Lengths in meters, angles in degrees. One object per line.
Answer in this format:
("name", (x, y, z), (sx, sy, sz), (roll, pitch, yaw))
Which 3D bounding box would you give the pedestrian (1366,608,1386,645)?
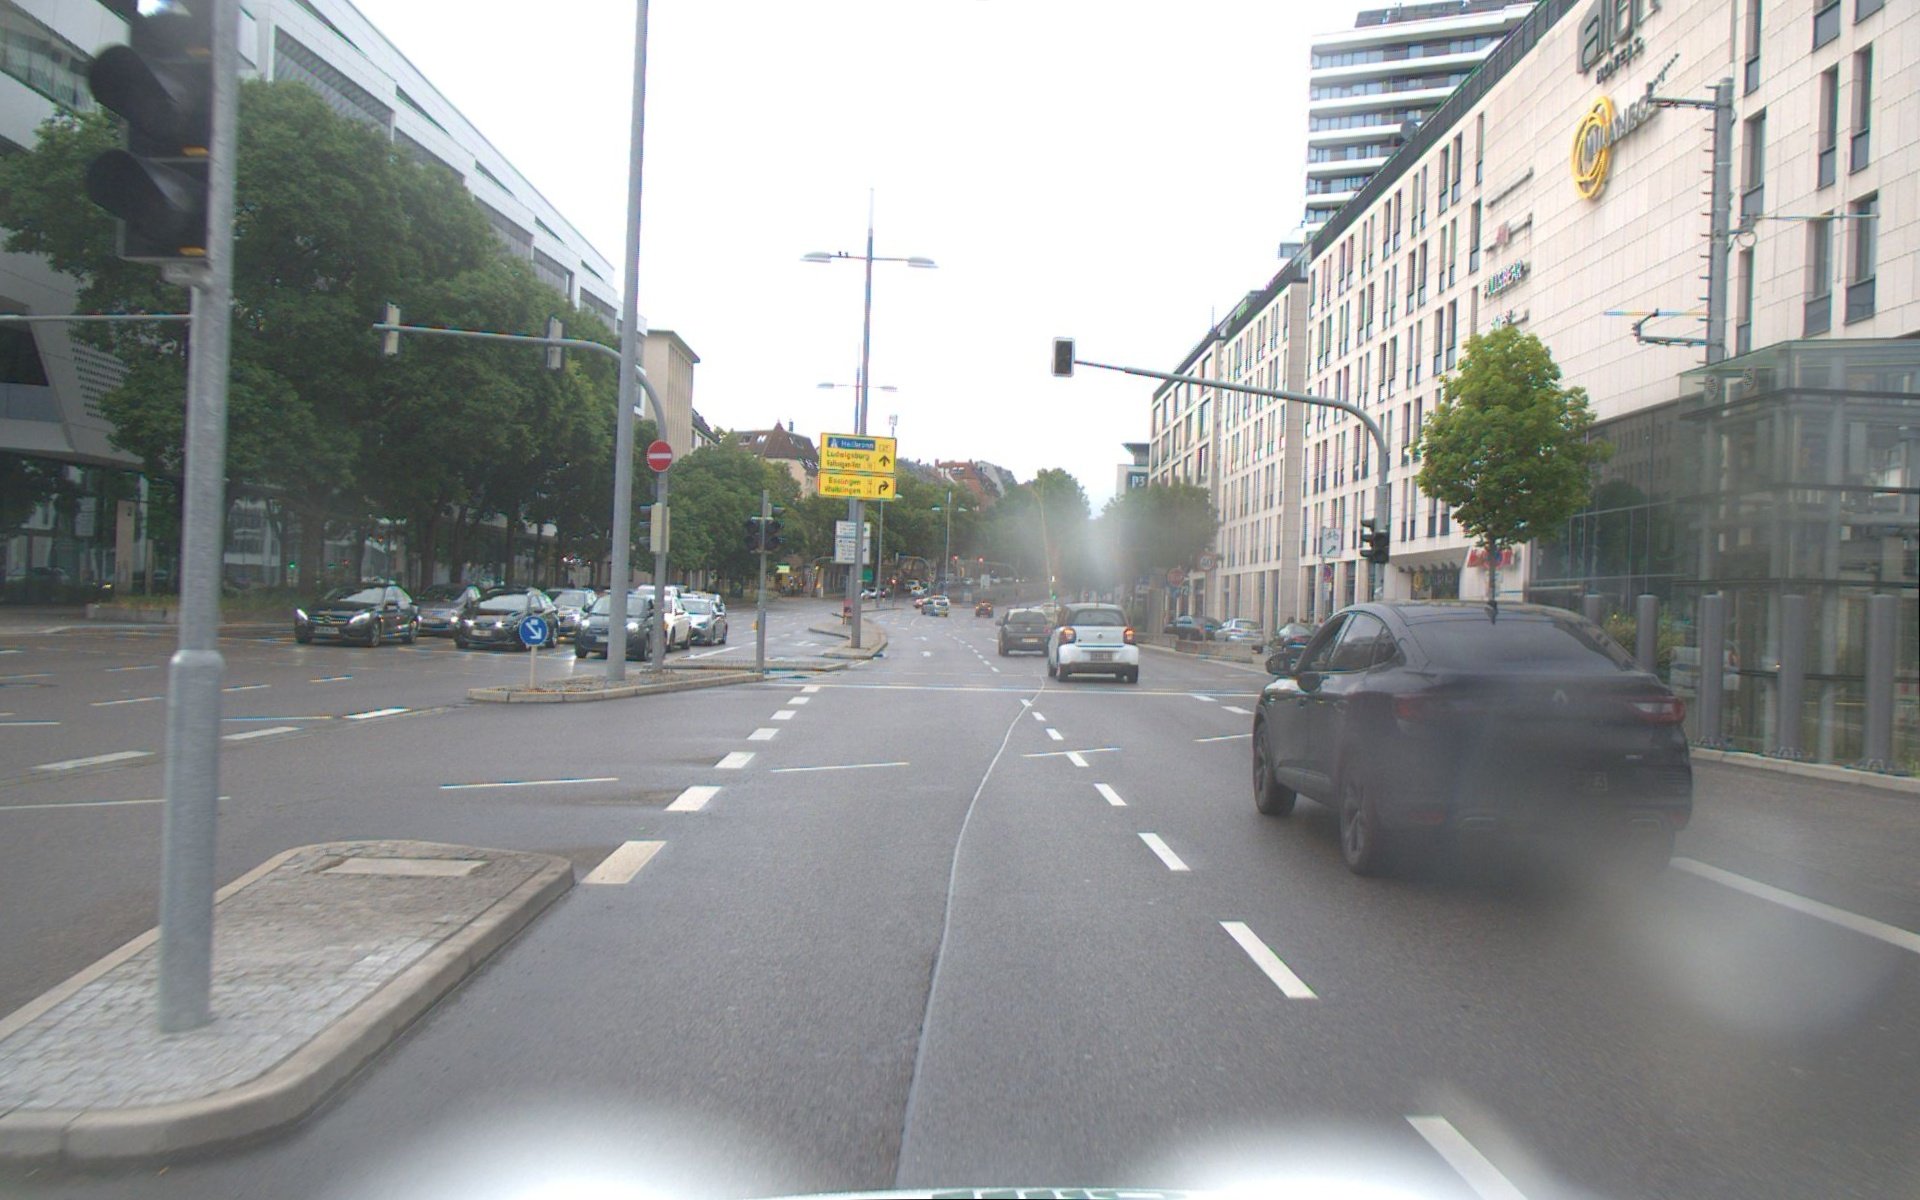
("pedestrian", (17.787, 1.120, 70.780), (0.660, 1.555, 0.726), (1, -1, -1))

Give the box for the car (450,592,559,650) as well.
("car", (-11.203, 0.494, 40.881), (1.708, 1.279, 3.539), (2, 1, -1))

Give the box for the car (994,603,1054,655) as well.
("car", (2.007, 0.902, 52.866), (1.704, 1.558, 3.813), (1, 0, -1))

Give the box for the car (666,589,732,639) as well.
("car", (-8.203, 0.438, 52.180), (1.507, 1.503, 3.695), (1, 0, -1))

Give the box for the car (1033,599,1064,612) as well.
("car", (11.327, 0.668, 211.222), (3.720, 1.558, 1.747), (1, 0, 7))

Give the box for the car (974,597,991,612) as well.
("car", (2.445, 0.513, 178.948), (1.704, 1.558, 3.813), (1, 0, -1))

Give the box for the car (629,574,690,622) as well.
("car", (-11.528, -0.054, 63.627), (1.708, 1.779, 3.539), (1, 0, -1))

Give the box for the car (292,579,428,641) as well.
("car", (-14.193, 0.235, 39.348), (1.708, 1.352, 4.224), (1, 0, -1))

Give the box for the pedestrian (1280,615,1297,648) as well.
("pedestrian", (16.068, 1.531, 80.834), (0.660, 1.555, 0.726), (1, -1, -1))

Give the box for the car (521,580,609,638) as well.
("car", (-11.372, 0.261, 47.847), (1.708, 1.586, 3.539), (1, 0, -1))

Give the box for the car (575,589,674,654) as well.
("car", (-8.036, 0.514, 39.909), (1.708, 1.470, 3.394), (1, 0, -1))

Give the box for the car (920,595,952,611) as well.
("car", (-2.457, 0.293, 168.649), (1.722, 1.558, 3.775), (1, 1, -31))

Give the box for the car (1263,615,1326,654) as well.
("car", (11.846, 1.209, 58.770), (1.475, 1.288, 3.501), (1, 0, -1))

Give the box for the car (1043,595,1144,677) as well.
("car", (2.700, 0.712, 34.166), (1.689, 1.558, 3.813), (1, 0, -1))

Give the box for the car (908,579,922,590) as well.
("car", (-6.960, -2.386, 255.132), (1.703, 1.558, 3.817), (1, 1, 6))

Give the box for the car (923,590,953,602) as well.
("car", (-2.826, -0.503, 212.741), (3.730, 1.558, 1.743), (1, 0, -8))

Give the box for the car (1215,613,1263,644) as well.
("car", (12.227, 1.248, 72.632), (1.475, 1.288, 3.501), (1, 0, -1))

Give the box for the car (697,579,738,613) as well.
("car", (-12.961, -0.200, 88.518), (1.708, 1.779, 3.539), (1, 0, -1))

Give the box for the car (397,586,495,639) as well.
("car", (-14.707, 0.353, 47.478), (1.708, 1.448, 3.539), (1, 0, -1))

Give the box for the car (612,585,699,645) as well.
("car", (-8.456, 0.416, 46.186), (1.668, 1.586, 4.244), (1, 0, -1))

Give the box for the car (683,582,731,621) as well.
("car", (-11.895, 0.076, 77.886), (1.708, 1.779, 3.539), (1, 0, -1))

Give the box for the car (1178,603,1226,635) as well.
("car", (11.391, 0.899, 78.114), (1.627, 1.425, 3.831), (1, 0, -1))

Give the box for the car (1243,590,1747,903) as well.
("car", (3.119, 0.744, 10.664), (1.754, 1.533, 4.338), (1, 1, -1))

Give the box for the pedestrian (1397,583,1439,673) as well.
("pedestrian", (9.599, 0.586, 34.657), (0.712, 1.864, 0.510), (1, -1, -1))
